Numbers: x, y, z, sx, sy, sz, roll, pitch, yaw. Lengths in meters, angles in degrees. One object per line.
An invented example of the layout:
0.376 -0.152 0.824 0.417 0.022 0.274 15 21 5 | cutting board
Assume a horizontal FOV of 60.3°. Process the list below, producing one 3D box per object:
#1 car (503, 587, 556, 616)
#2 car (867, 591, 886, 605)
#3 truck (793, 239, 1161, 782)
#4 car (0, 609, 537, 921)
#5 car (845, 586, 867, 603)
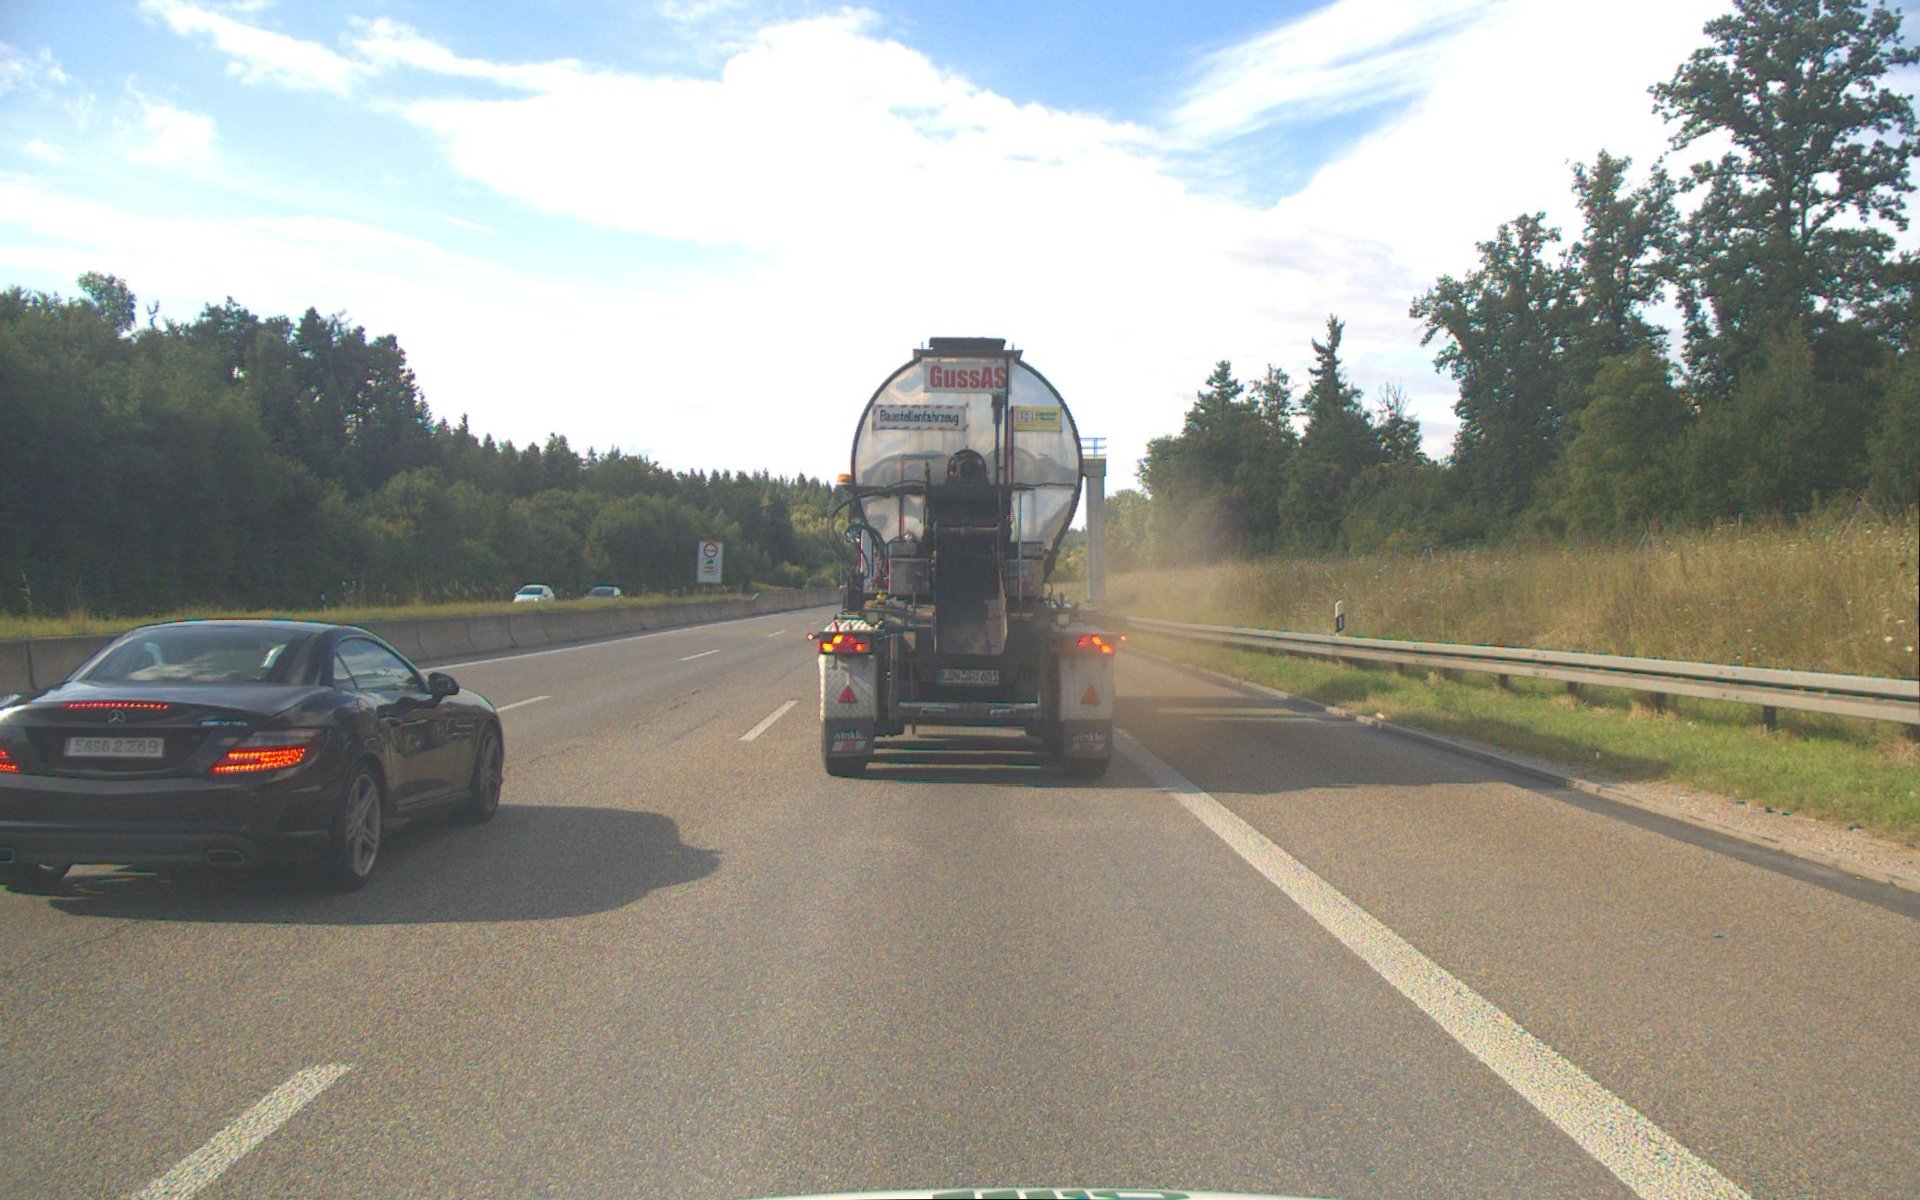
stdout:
-24.271 0.069 93.426 1.910 1.566 4.326 0 0 -1 | car
-8.816 -0.202 174.252 1.818 1.456 4.840 0 0 -1 | car
0.062 -0.729 18.578 2.853 4.230 11.268 0 0 -1 | truck
-3.754 0.735 9.327 1.709 1.306 4.198 0 0 -1 | car
-9.357 -0.481 148.567 1.798 1.544 4.332 0 0 -1 | car
